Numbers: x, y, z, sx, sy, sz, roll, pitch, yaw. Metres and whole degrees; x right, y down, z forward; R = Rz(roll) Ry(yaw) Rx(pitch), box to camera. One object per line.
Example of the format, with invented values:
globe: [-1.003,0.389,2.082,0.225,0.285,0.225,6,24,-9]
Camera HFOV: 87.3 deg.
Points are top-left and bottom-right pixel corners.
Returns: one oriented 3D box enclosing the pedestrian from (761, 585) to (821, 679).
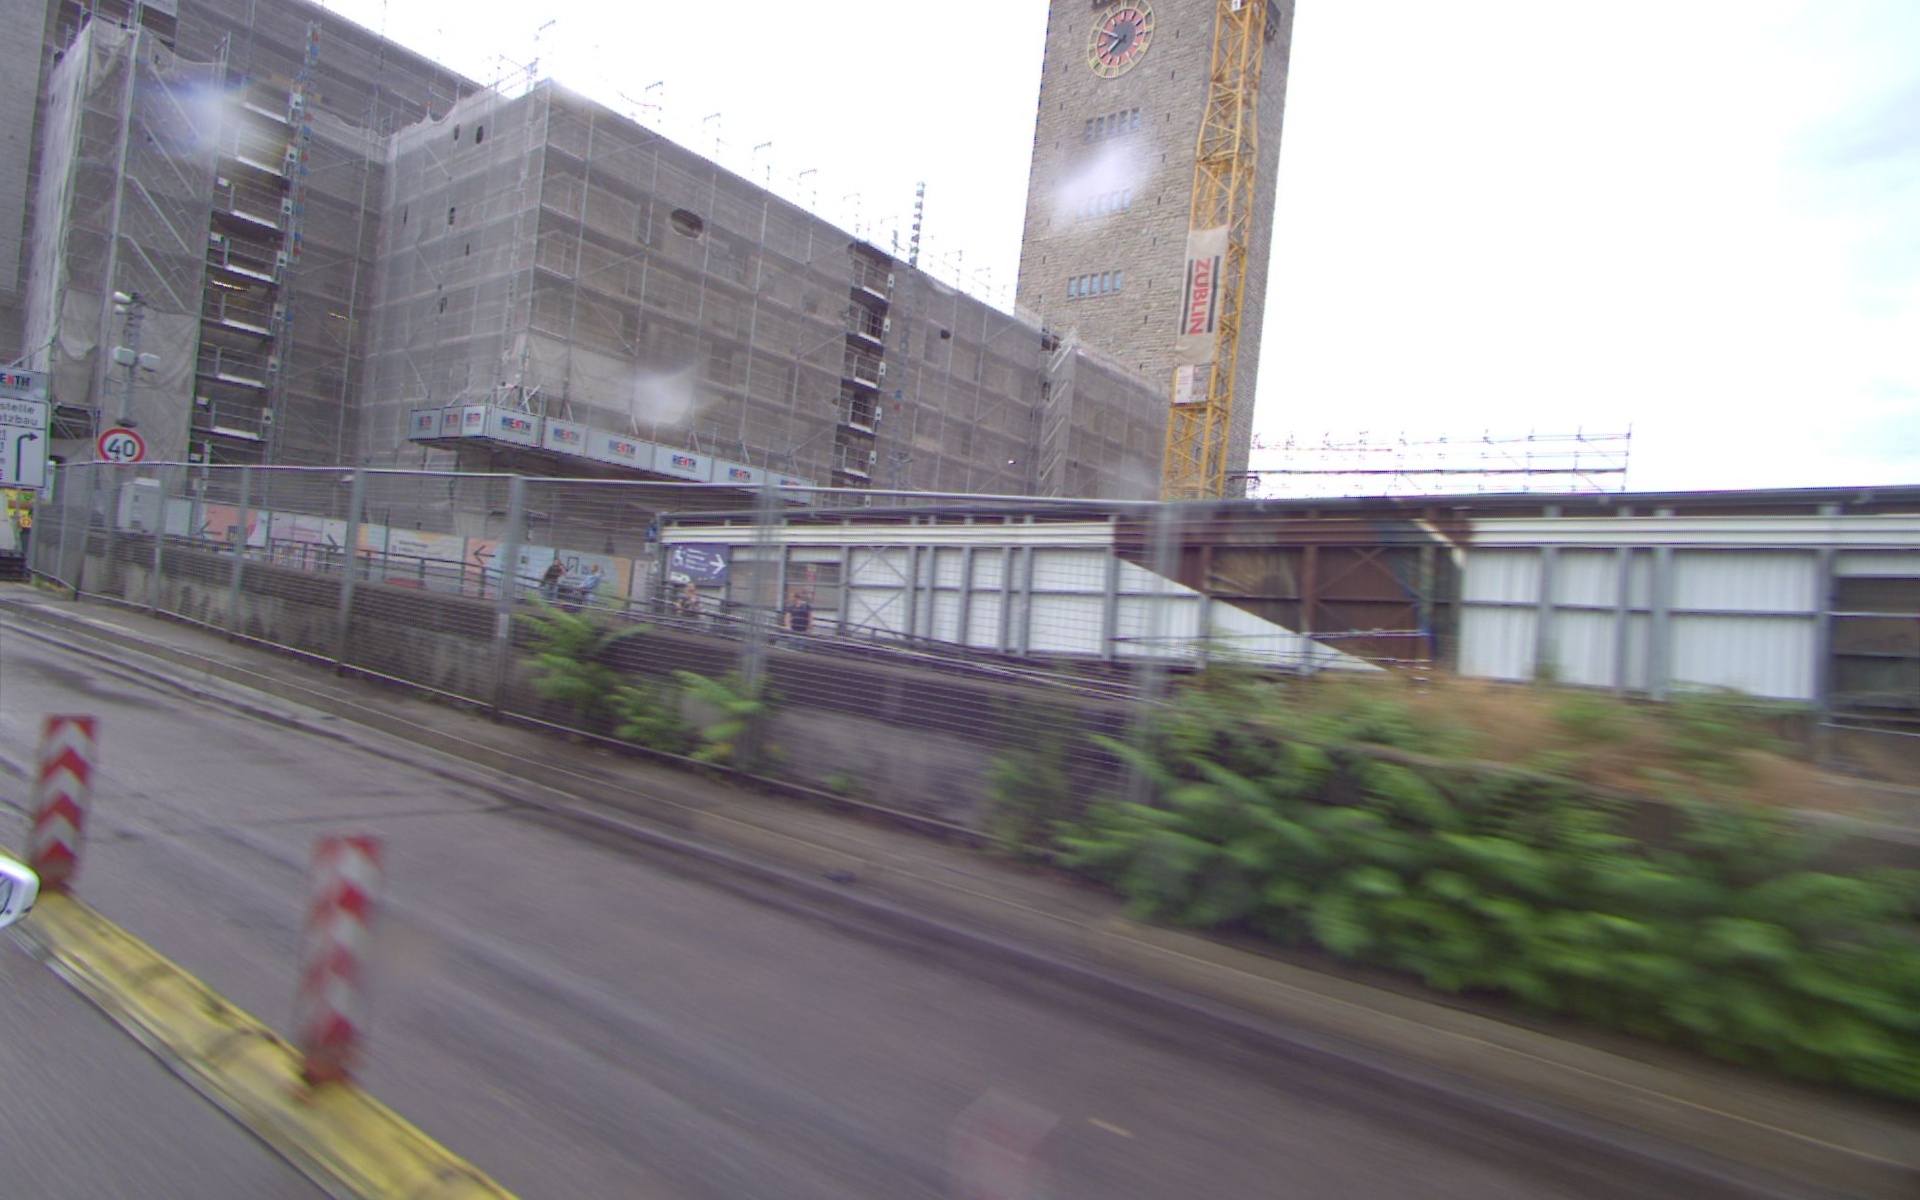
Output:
pedestrian: [-3.923,0.748,23.371,0.752,2.036,0.866,6,-2,30]

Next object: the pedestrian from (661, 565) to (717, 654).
pedestrian: [-6.578,0.233,24.434,0.752,2.036,0.780,6,-2,30]

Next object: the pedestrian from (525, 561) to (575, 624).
pedestrian: [-11.426,-0.206,28.047,0.697,1.611,0.856,6,-2,30]

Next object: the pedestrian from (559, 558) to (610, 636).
pedestrian: [-10.391,-0.073,27.866,0.752,2.036,0.806,6,-2,30]

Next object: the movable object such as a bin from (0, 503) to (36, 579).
movable object such as a bin: [-20.109,-1.265,20.538,1.286,1.510,1.525,6,0,-24]

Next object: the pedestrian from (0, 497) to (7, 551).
pedestrian: [-30.477,-2.424,31.498,0.943,1.700,0.735,6,3,37]
